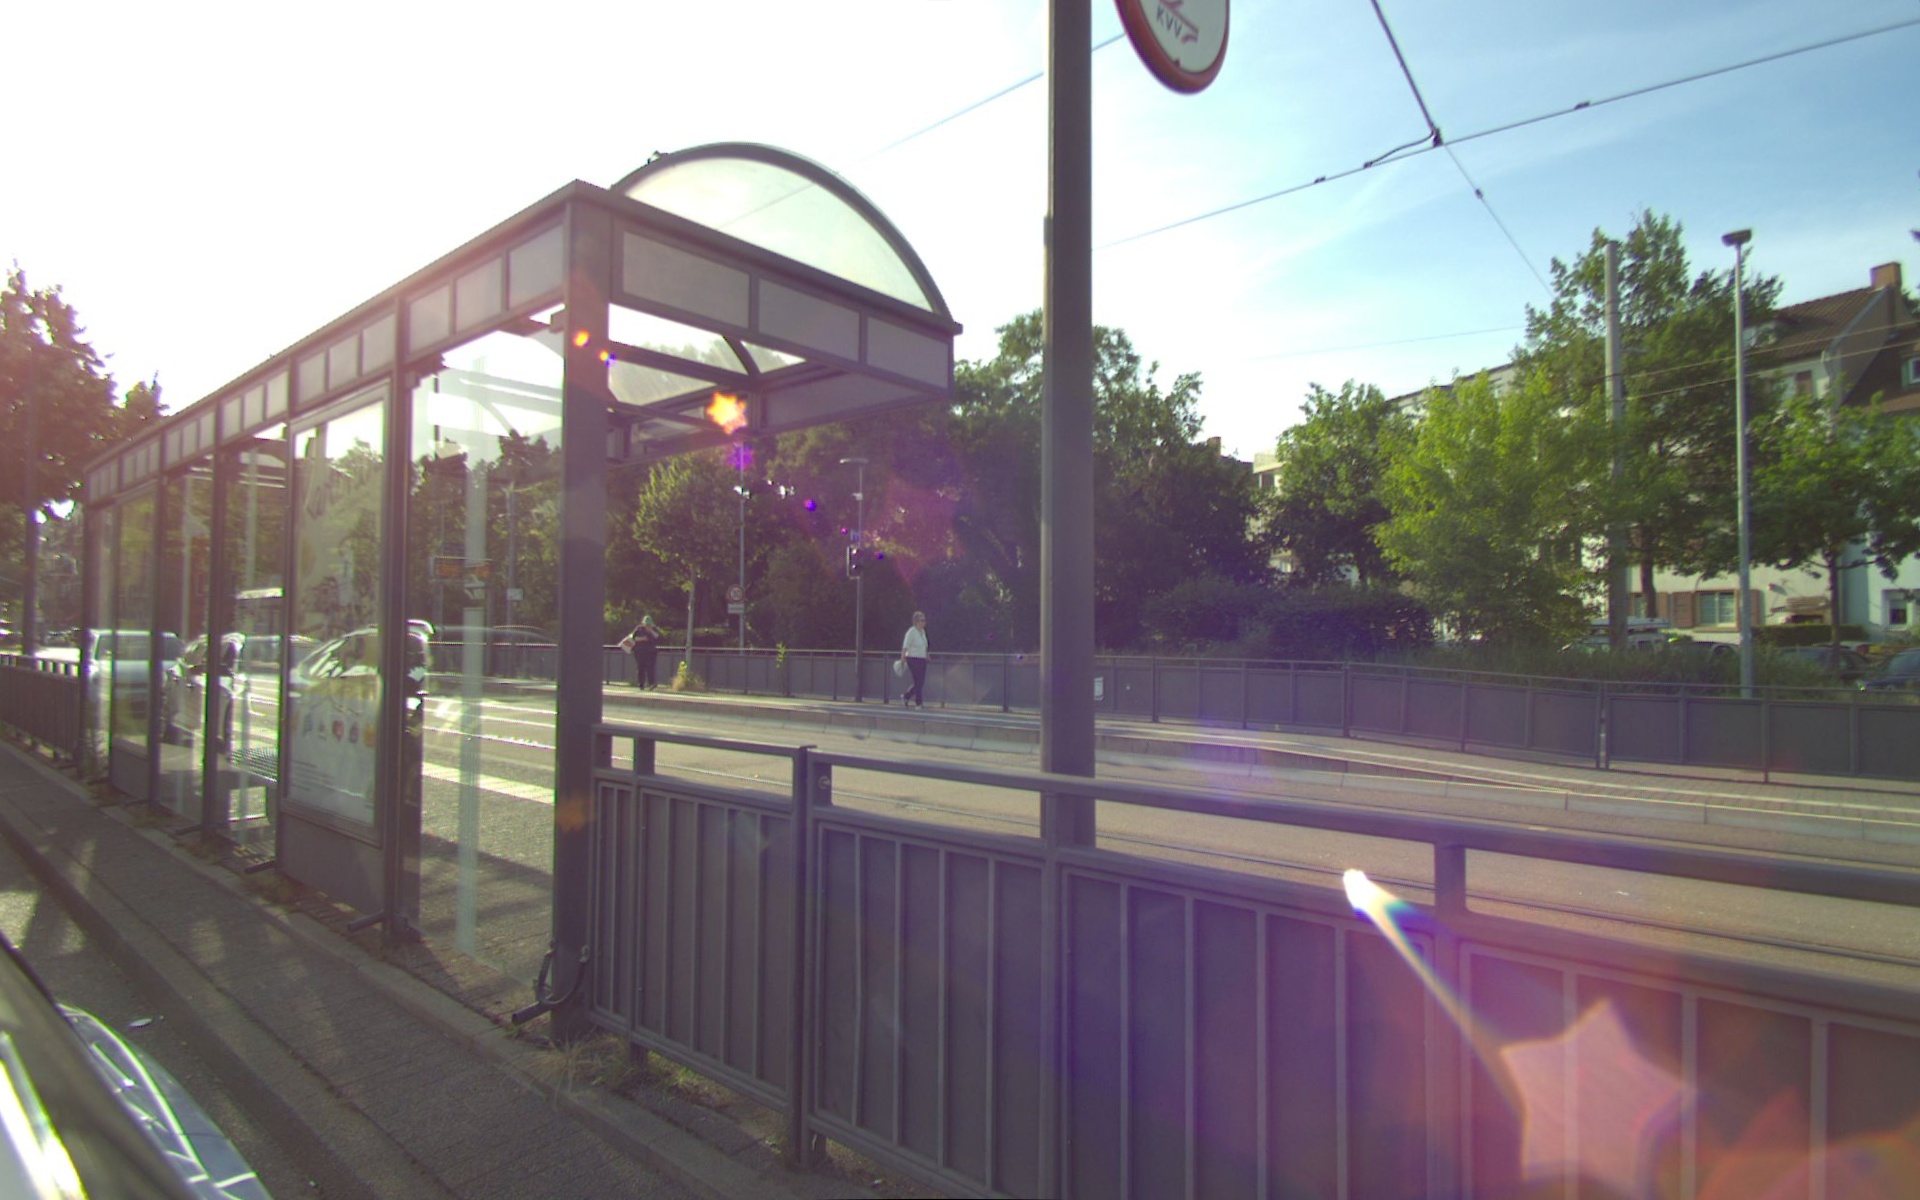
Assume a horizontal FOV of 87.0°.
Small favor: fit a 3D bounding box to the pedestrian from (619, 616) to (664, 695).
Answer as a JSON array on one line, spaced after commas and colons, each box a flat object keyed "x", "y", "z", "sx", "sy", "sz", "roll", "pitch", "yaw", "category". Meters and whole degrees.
[{"x": -6.987, "y": 1.216, "z": 22.184, "sx": 0.618, "sy": 1.697, "sz": 0.613, "roll": -2, "pitch": -6, "yaw": 41, "category": "pedestrian"}]

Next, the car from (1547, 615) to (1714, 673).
[{"x": 18.193, "y": 1.201, "z": 27.476, "sx": 3.930, "sy": 1.497, "sz": 1.854, "roll": 1, "pitch": -3, "yaw": -22, "category": "car"}]

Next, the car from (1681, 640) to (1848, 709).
[{"x": 18.184, "y": 1.626, "z": 22.839, "sx": 3.935, "sy": 1.409, "sz": 2.004, "roll": 2, "pitch": -3, "yaw": -37, "category": "car"}]

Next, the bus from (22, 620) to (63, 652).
[{"x": -102.754, "y": 3.973, "z": 113.253, "sx": 9.258, "sy": 3.461, "sz": 2.405, "roll": -1, "pitch": 0, "yaw": 41, "category": "bus"}]

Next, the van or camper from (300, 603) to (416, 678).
[{"x": -26.203, "y": 1.681, "z": 43.903, "sx": 6.408, "sy": 2.990, "sz": 2.494, "roll": -1, "pitch": 0, "yaw": 41, "category": "van or camper"}]

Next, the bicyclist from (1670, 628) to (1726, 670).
[{"x": 23.006, "y": 1.521, "z": 31.567, "sx": 0.752, "sy": 1.271, "sz": 1.178, "roll": 2, "pitch": -3, "yaw": -27, "category": "bicyclist"}]

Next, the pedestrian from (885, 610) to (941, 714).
[{"x": -0.792, "y": 1.042, "z": 16.972, "sx": 0.618, "sy": 1.697, "sz": 0.613, "roll": -2, "pitch": -6, "yaw": 41, "category": "pedestrian"}]

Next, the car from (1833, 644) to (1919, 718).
[{"x": 19.636, "y": 1.603, "z": 20.612, "sx": 3.935, "sy": 1.409, "sz": 2.004, "roll": 2, "pitch": -3, "yaw": -37, "category": "car"}]
